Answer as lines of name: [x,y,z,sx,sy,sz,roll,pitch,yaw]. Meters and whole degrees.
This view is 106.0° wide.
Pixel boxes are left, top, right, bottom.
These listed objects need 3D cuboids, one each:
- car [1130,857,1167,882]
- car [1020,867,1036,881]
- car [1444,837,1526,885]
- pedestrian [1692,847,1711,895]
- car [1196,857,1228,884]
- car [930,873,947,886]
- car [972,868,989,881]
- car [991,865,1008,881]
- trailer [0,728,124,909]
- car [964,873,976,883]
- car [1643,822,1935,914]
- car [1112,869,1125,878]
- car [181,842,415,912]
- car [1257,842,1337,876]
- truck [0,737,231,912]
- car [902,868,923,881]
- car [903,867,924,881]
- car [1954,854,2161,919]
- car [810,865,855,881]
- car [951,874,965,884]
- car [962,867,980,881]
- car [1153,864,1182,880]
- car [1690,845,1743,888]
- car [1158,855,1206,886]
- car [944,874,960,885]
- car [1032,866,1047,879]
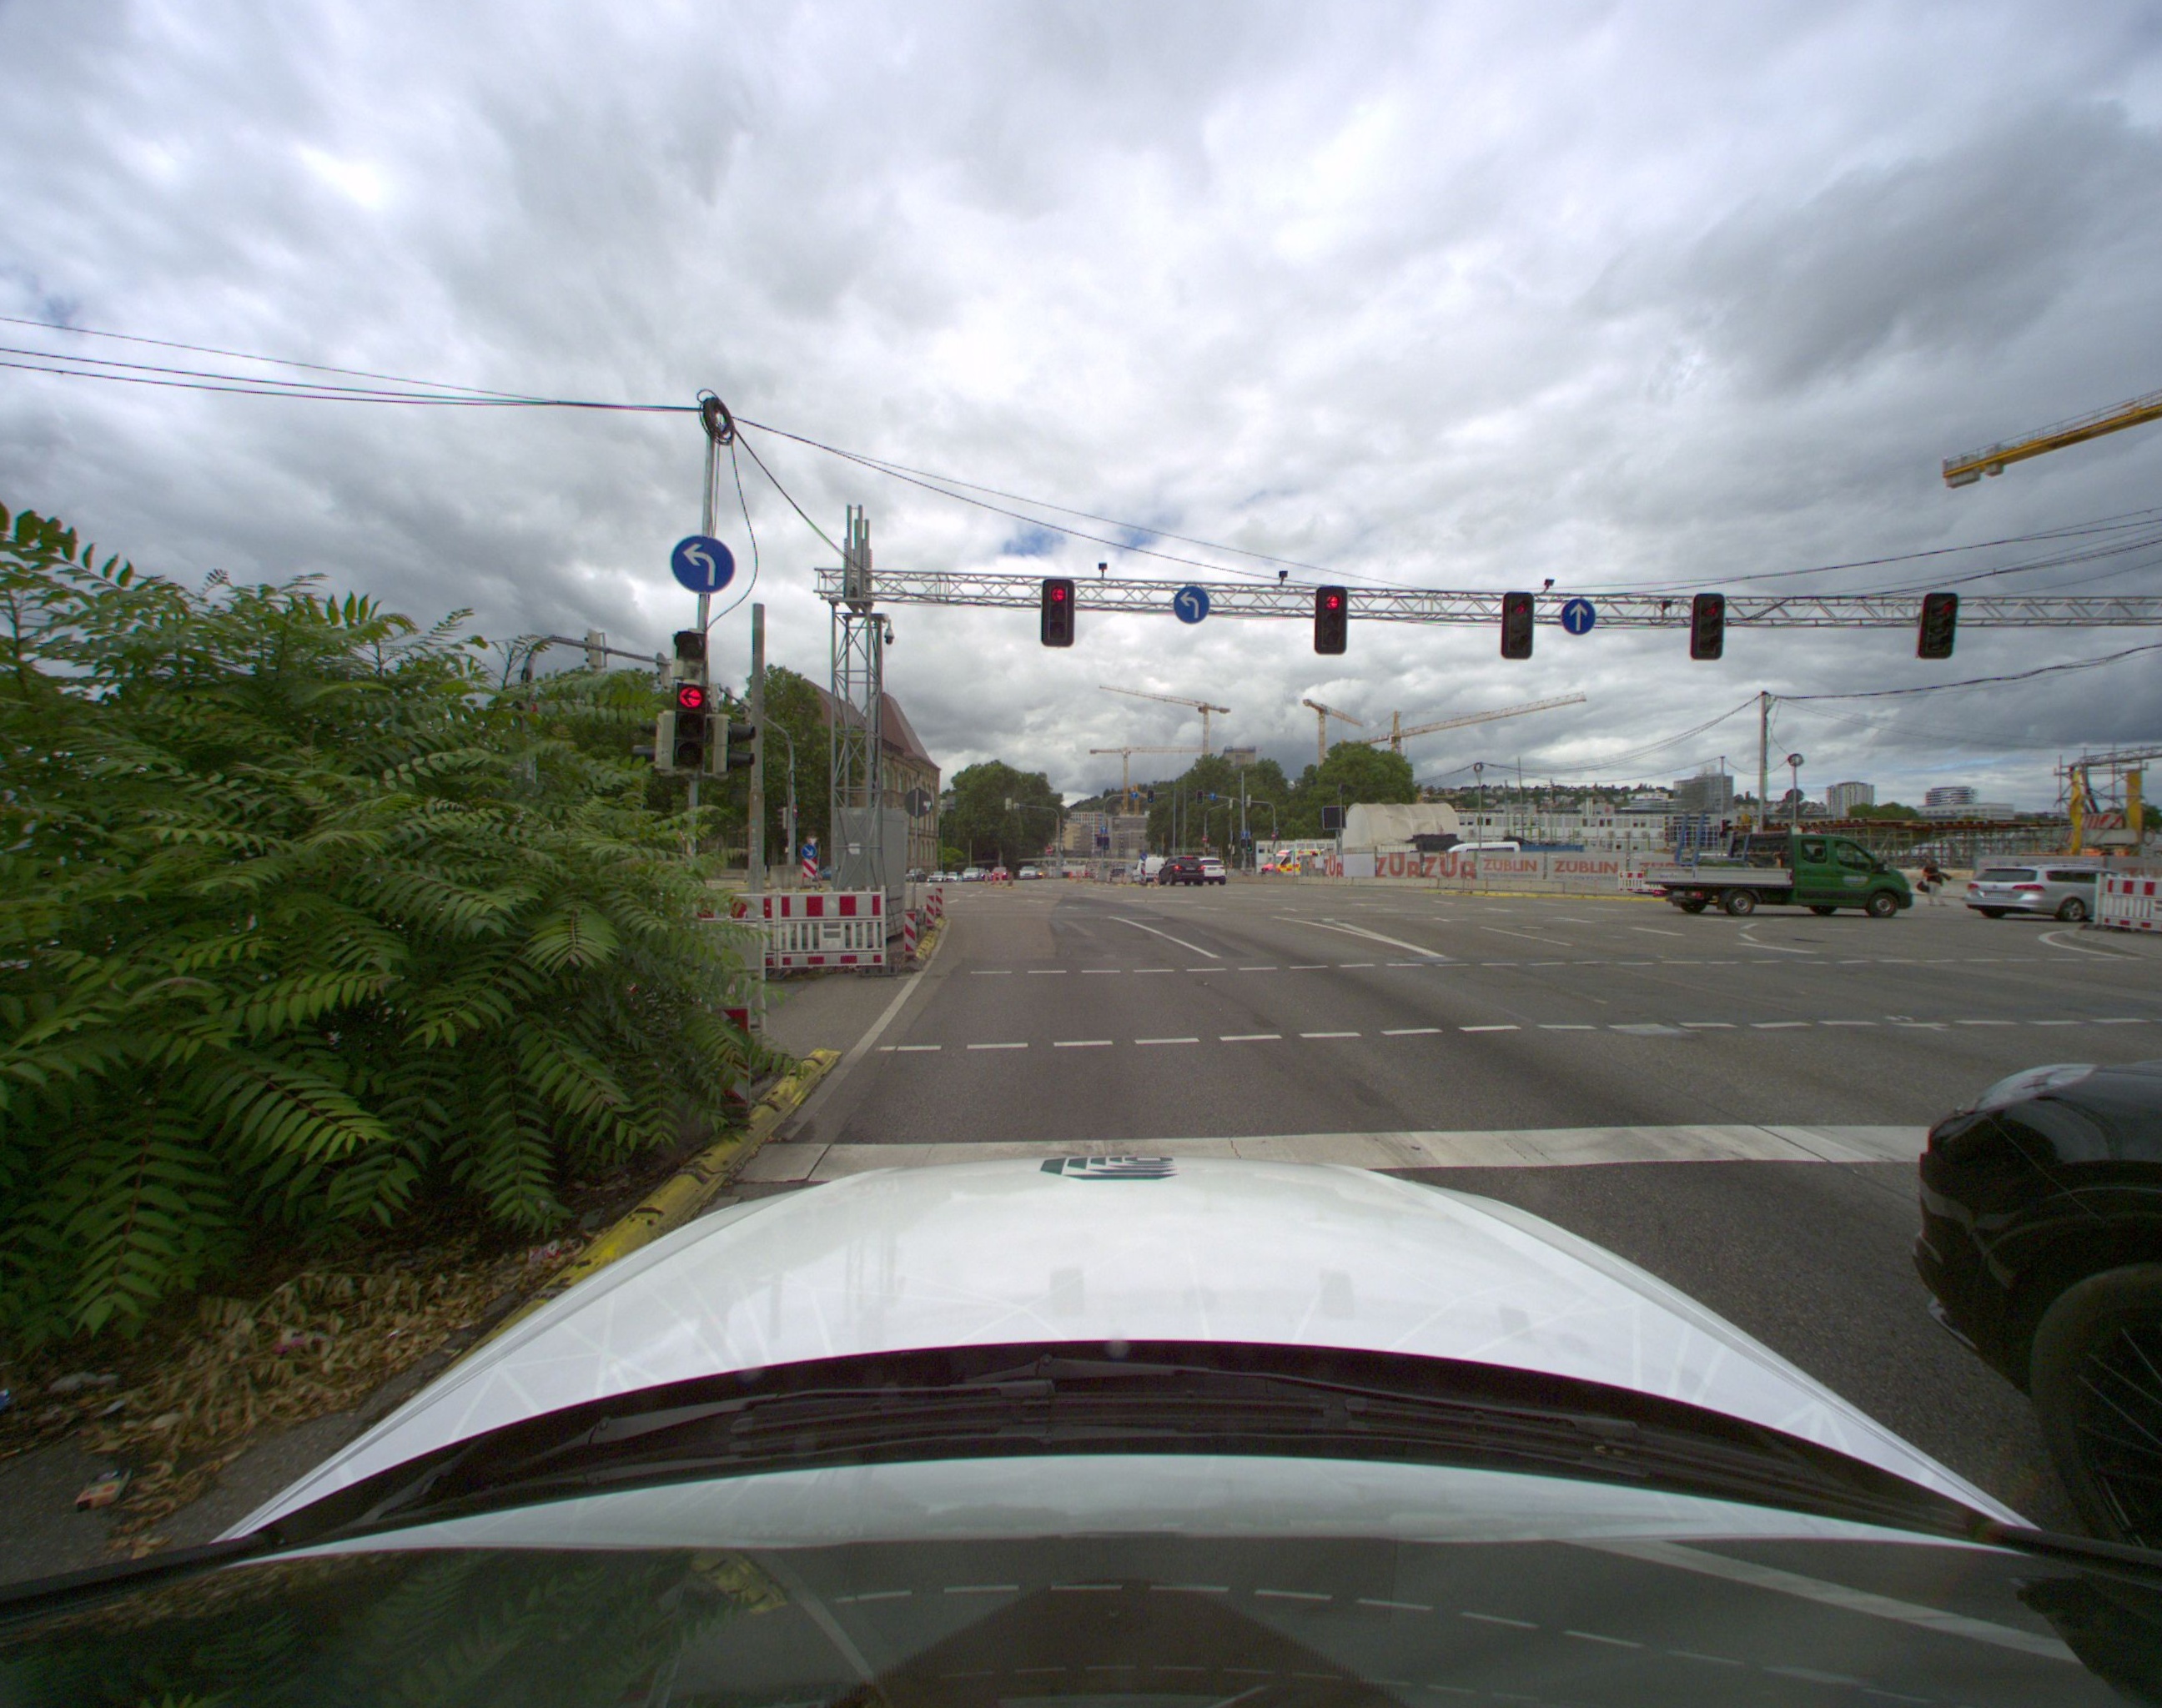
car: [4.567,1.014,55.579,1.814,1.625,3.992,0,-1,-5]
car: [-5.588,2.062,85.355,1.673,1.398,3.677,0,-1,-4]
car: [23.231,0.421,46.976,3.957,2.662,1.688,-1,-1,15]
pedestrian: [25.719,0.706,33.759,0.581,1.976,0.437,0,0,43]
car: [8.479,1.052,53.002,1.670,1.702,3.375,0,-1,2]
car: [-17.258,3.099,98.882,1.673,1.398,3.677,0,-1,-4]
car: [-11.368,2.259,92.234,1.673,1.398,3.677,0,-1,-4]
car: [-8.481,1.989,85.092,1.673,1.580,3.677,0,-1,-4]
trailer: [-32.420,-0.778,20.002,13.708,4.281,2.945,0,-1,-3]
car: [-17.954,3.876,131.658,1.673,1.398,3.677,0,-1,-4]
car: [18.716,0.369,21.785,5.736,2.305,2.305,0,-1,2]
car: [5.418,2.777,116.844,1.307,1.075,3.675,0,0,-6]
car: [-19.487,0.557,20.413,4.041,1.625,1.829,0,-1,-1]
car: [19.572,0.439,73.799,6.753,3.052,2.358,0,-1,-17]
truck: [-25.294,-0.675,20.329,4.864,4.064,2.942,0,-1,-3]
car: [-17.938,2.161,86.763,1.673,1.398,3.677,0,-1,-4]
car: [-17.907,2.164,87.087,1.673,1.398,3.677,0,-1,-4]
car: [26.297,0.816,21.455,4.691,1.625,1.682,0,-1,2]
car: [-22.261,1.669,73.078,1.660,1.398,3.705,-1,-1,29]
car: [-17.477,3.542,116.009,1.673,1.398,3.677,0,-1,-4]
car: [-11.621,2.111,86.076,1.673,1.398,3.677,0,-1,-4]
car: [8.019,1.675,75.961,1.680,1.398,3.069,0,-1,-16]
car: [30.134,0.561,38.703,1.755,1.954,3.146,-1,-1,34]
car: [5.960,0.938,48.495,1.830,1.746,4.244,0,-1,-8]
car: [-17.239,3.367,108.705,1.671,1.398,3.680,0,0,-2]
car: [-4.774,2.110,93.602,1.673,1.398,3.677,0,-1,-4]
